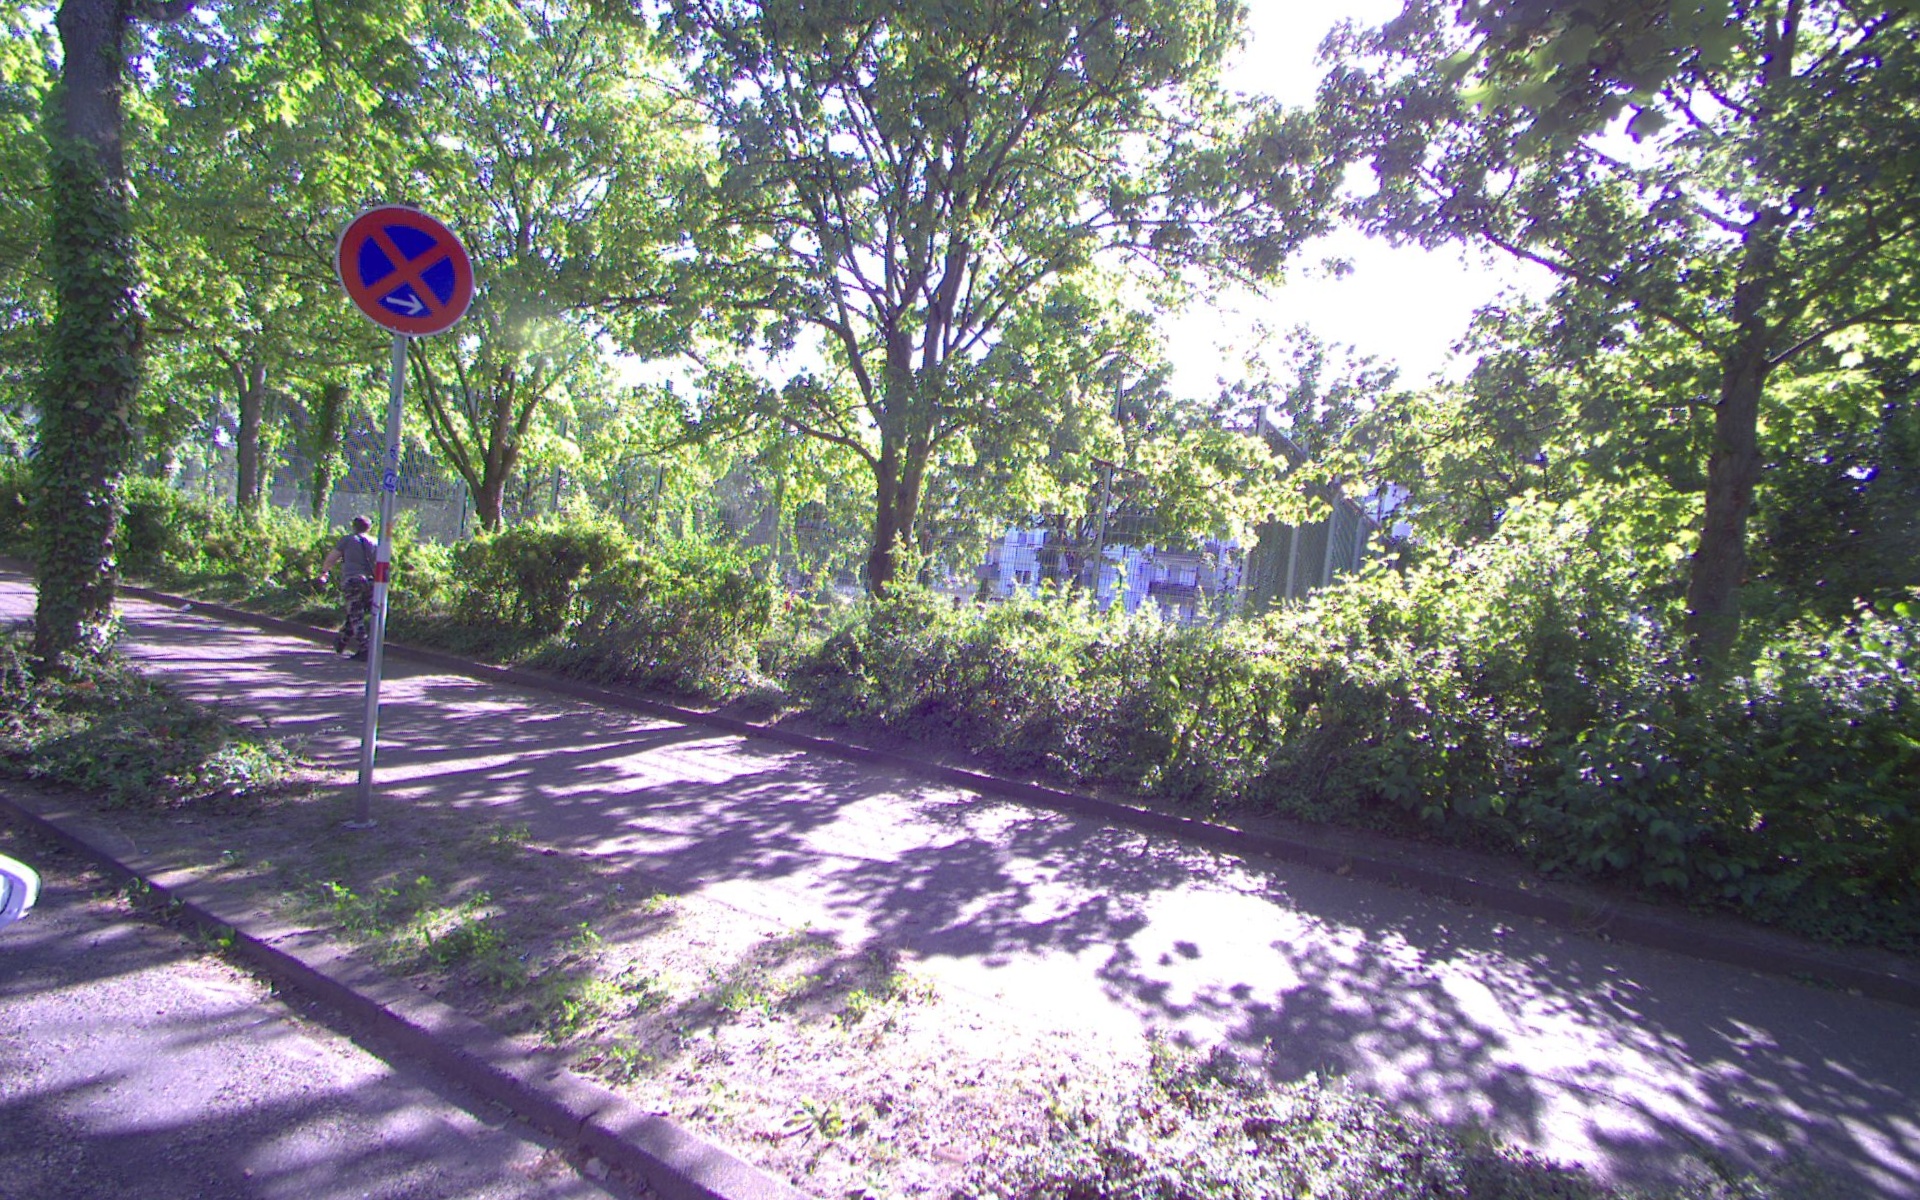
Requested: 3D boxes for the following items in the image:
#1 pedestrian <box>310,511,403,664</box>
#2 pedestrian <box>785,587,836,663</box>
[{"bbox_3d":[-6.828,-0.141,11.380,0.661,1.627,0.571,7,0,40],"label":"pedestrian"},{"bbox_3d":[-2.658,0.443,17.857,0.558,1.254,0.539,9,-2,-39],"label":"pedestrian"}]
